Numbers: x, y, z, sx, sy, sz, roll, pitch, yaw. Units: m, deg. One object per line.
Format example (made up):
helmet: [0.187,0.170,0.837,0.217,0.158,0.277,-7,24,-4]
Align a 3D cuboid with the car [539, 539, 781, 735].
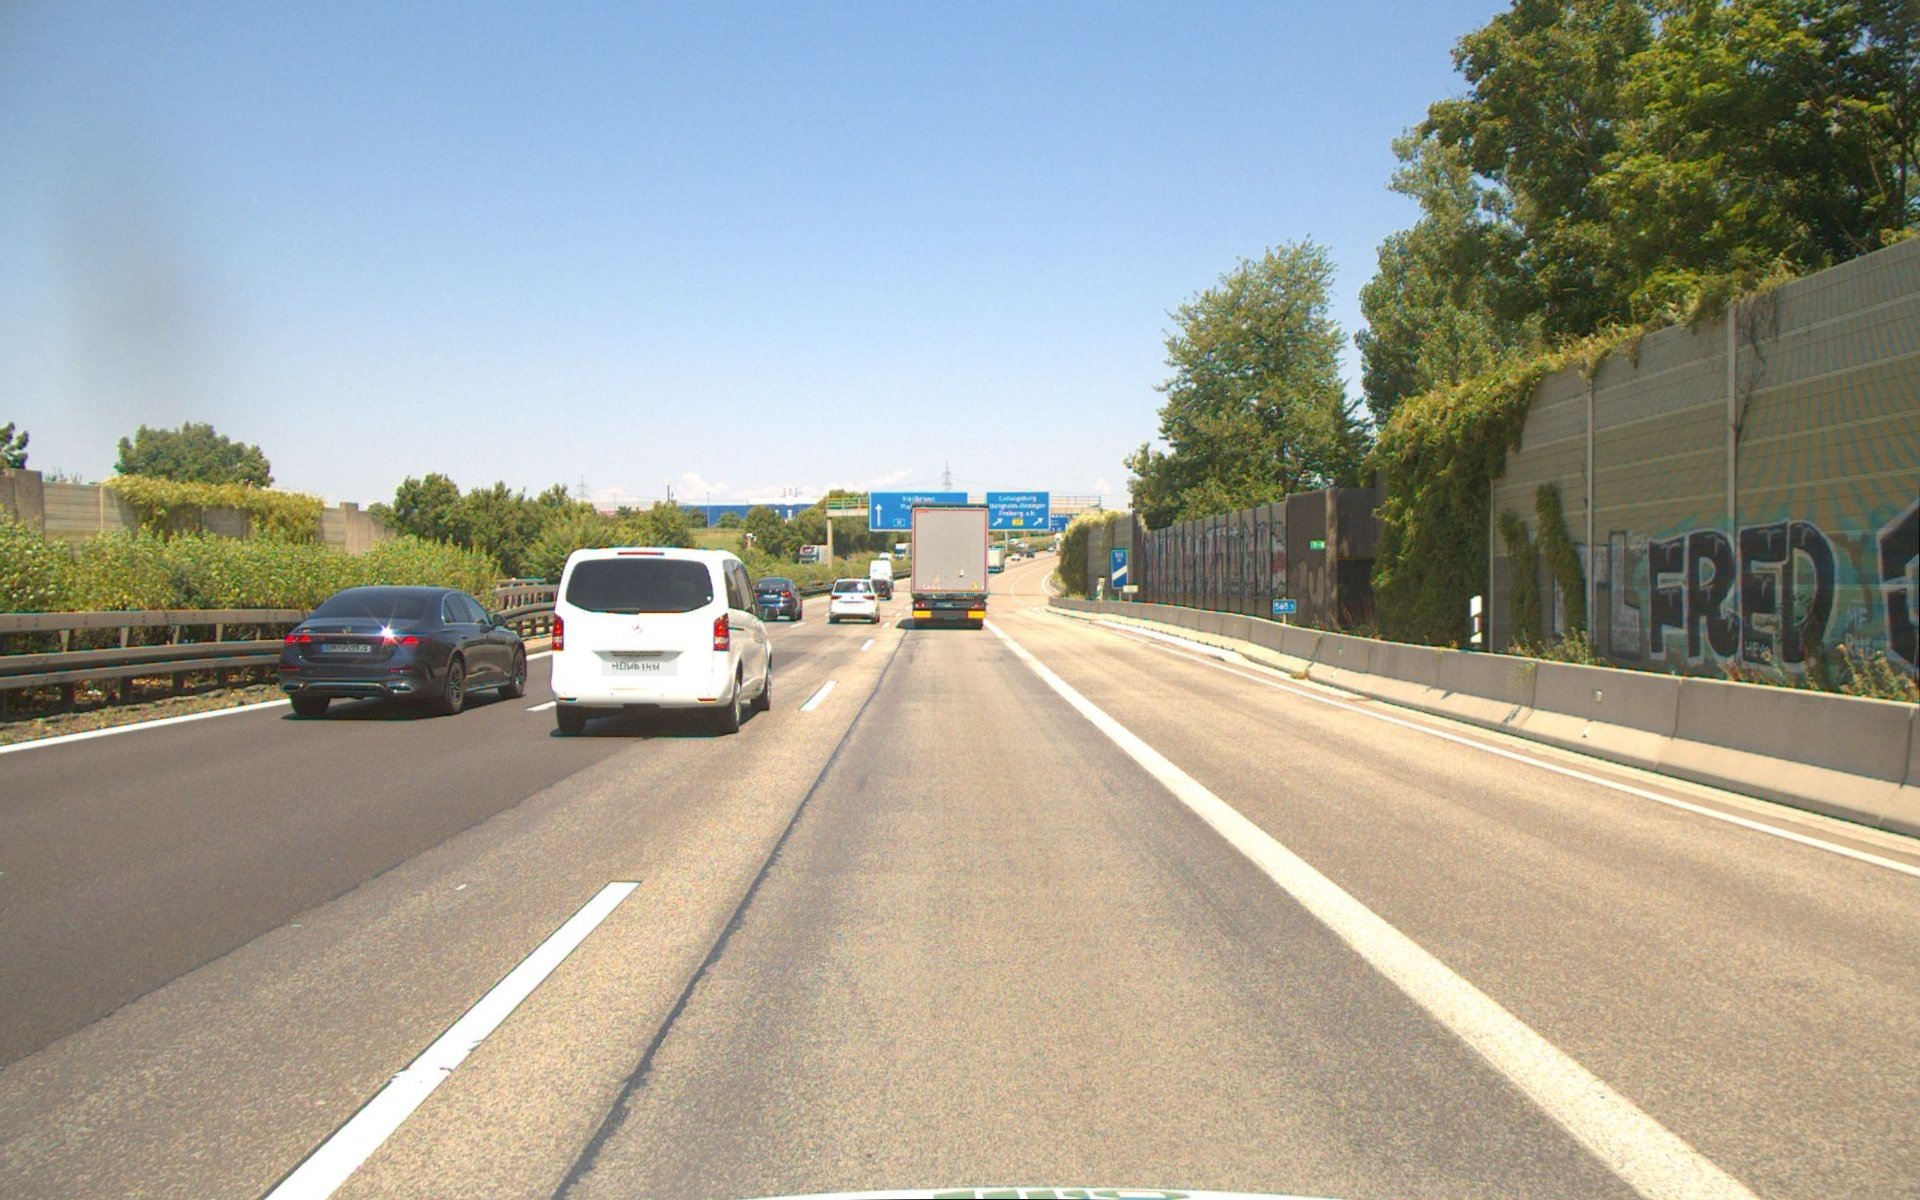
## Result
car: [-3.169,0.350,18.430,1.891,1.884,4.691,1,0,-1]

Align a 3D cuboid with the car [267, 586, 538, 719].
car: [-6.703,0.557,20.513,1.721,1.433,5.039,1,0,-1]

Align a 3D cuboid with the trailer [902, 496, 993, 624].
trailer: [-0.502,-1.309,59.015,2.868,4.085,12.036,1,0,-1]

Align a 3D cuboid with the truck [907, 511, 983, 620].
truck: [-0.632,-1.330,66.597,2.868,4.085,7.582,1,0,-1]

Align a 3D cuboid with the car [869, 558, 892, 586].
car: [-7.323,-2.550,152.696,1.953,2.416,3.999,1,-1,-1]

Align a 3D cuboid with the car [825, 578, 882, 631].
car: [-3.948,0.144,61.879,1.866,1.884,4.630,1,0,-1]

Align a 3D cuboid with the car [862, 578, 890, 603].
car: [-5.994,-0.707,118.728,1.866,1.718,4.630,1,0,-1]

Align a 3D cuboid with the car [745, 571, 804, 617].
car: [-7.197,-0.234,64.517,1.866,1.718,4.630,1,0,-1]
